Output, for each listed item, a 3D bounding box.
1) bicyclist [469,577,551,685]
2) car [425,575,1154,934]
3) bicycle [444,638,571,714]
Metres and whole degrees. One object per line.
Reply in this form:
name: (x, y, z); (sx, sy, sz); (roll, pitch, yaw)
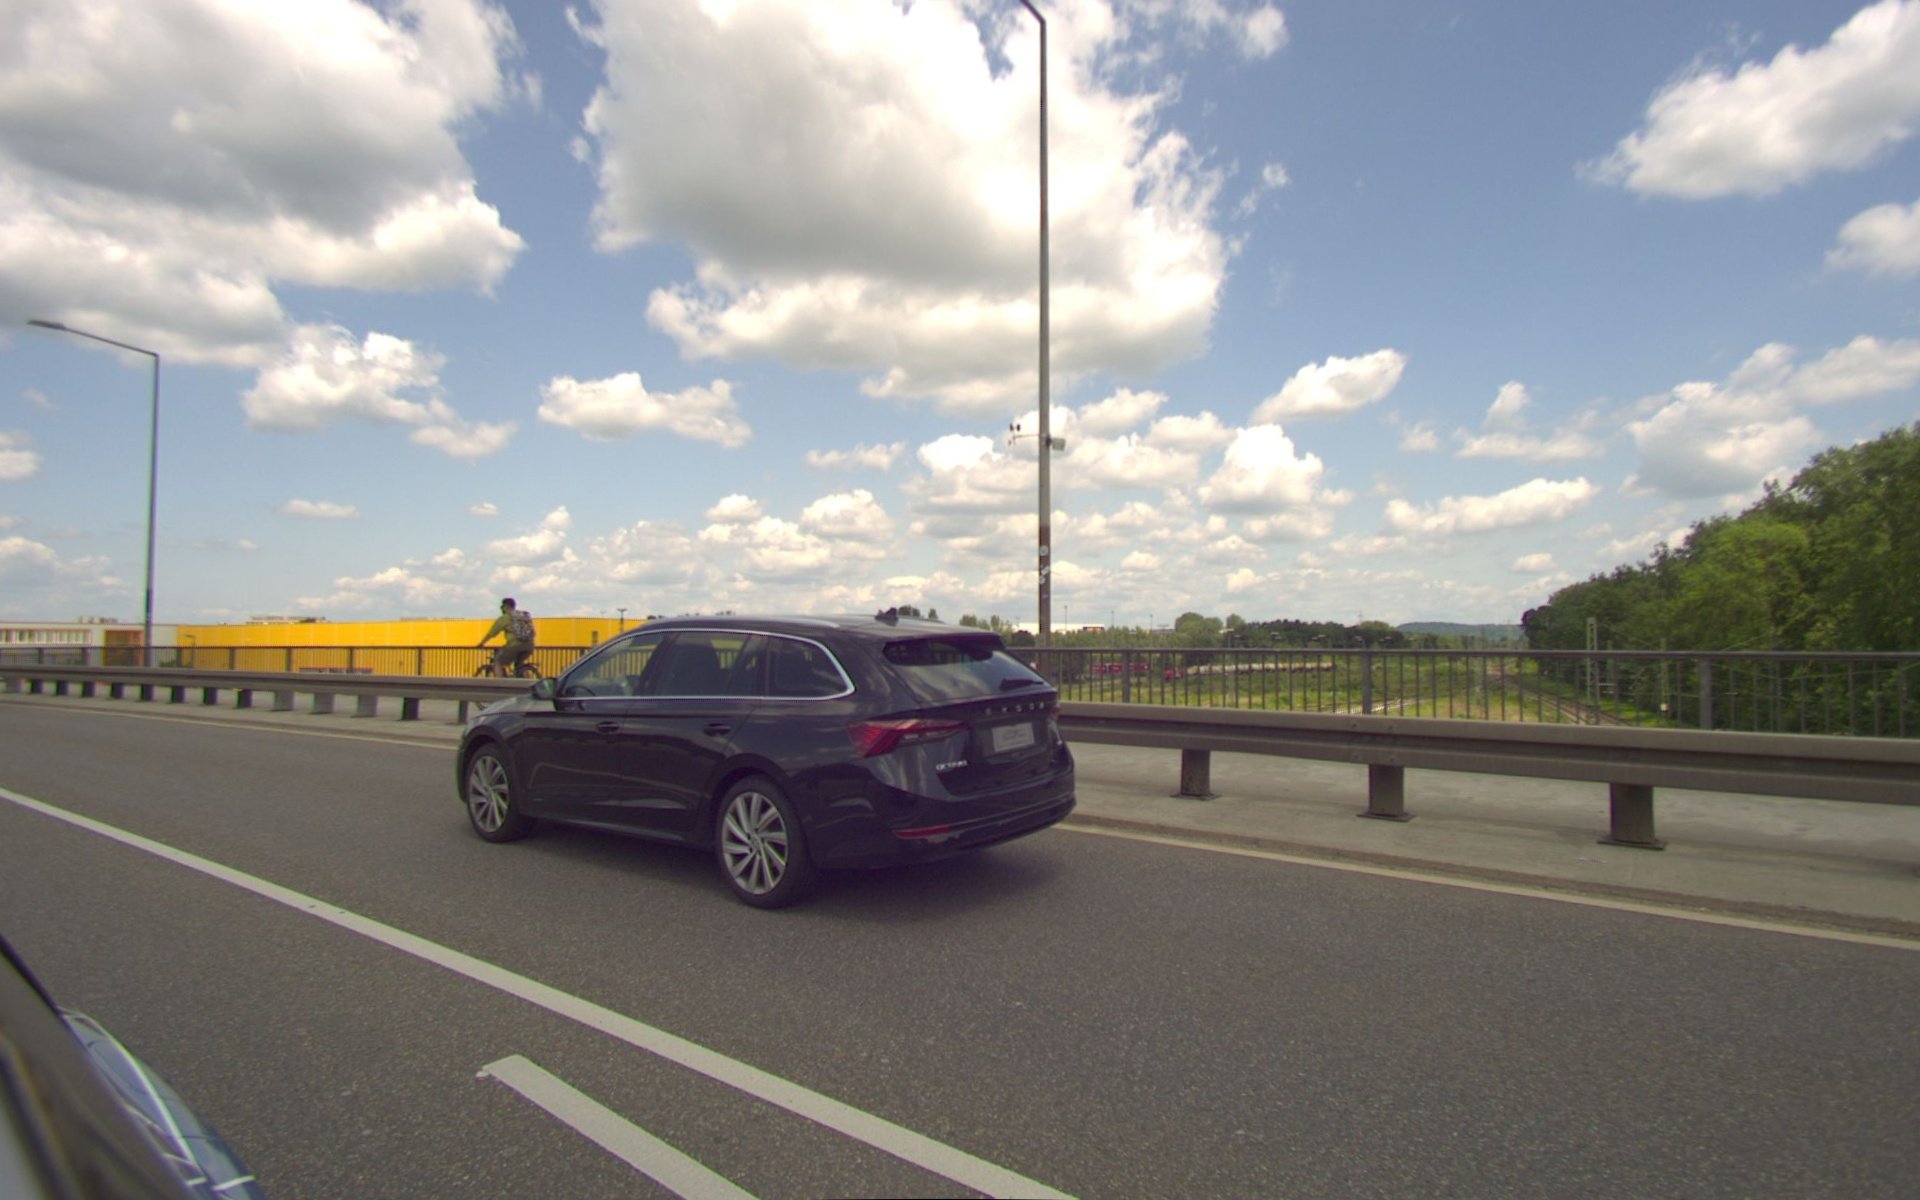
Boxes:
bicyclist: (-6.943, 0.476, 15.621); (0.944, 1.614, 0.761); (-2, -2, 32)
car: (-1.351, 0.710, 6.330); (4.731, 1.462, 1.799); (-3, -1, 39)
bicycle: (-7.020, 1.145, 15.668); (2.109, 1.103, 0.763); (-2, -2, 33)
